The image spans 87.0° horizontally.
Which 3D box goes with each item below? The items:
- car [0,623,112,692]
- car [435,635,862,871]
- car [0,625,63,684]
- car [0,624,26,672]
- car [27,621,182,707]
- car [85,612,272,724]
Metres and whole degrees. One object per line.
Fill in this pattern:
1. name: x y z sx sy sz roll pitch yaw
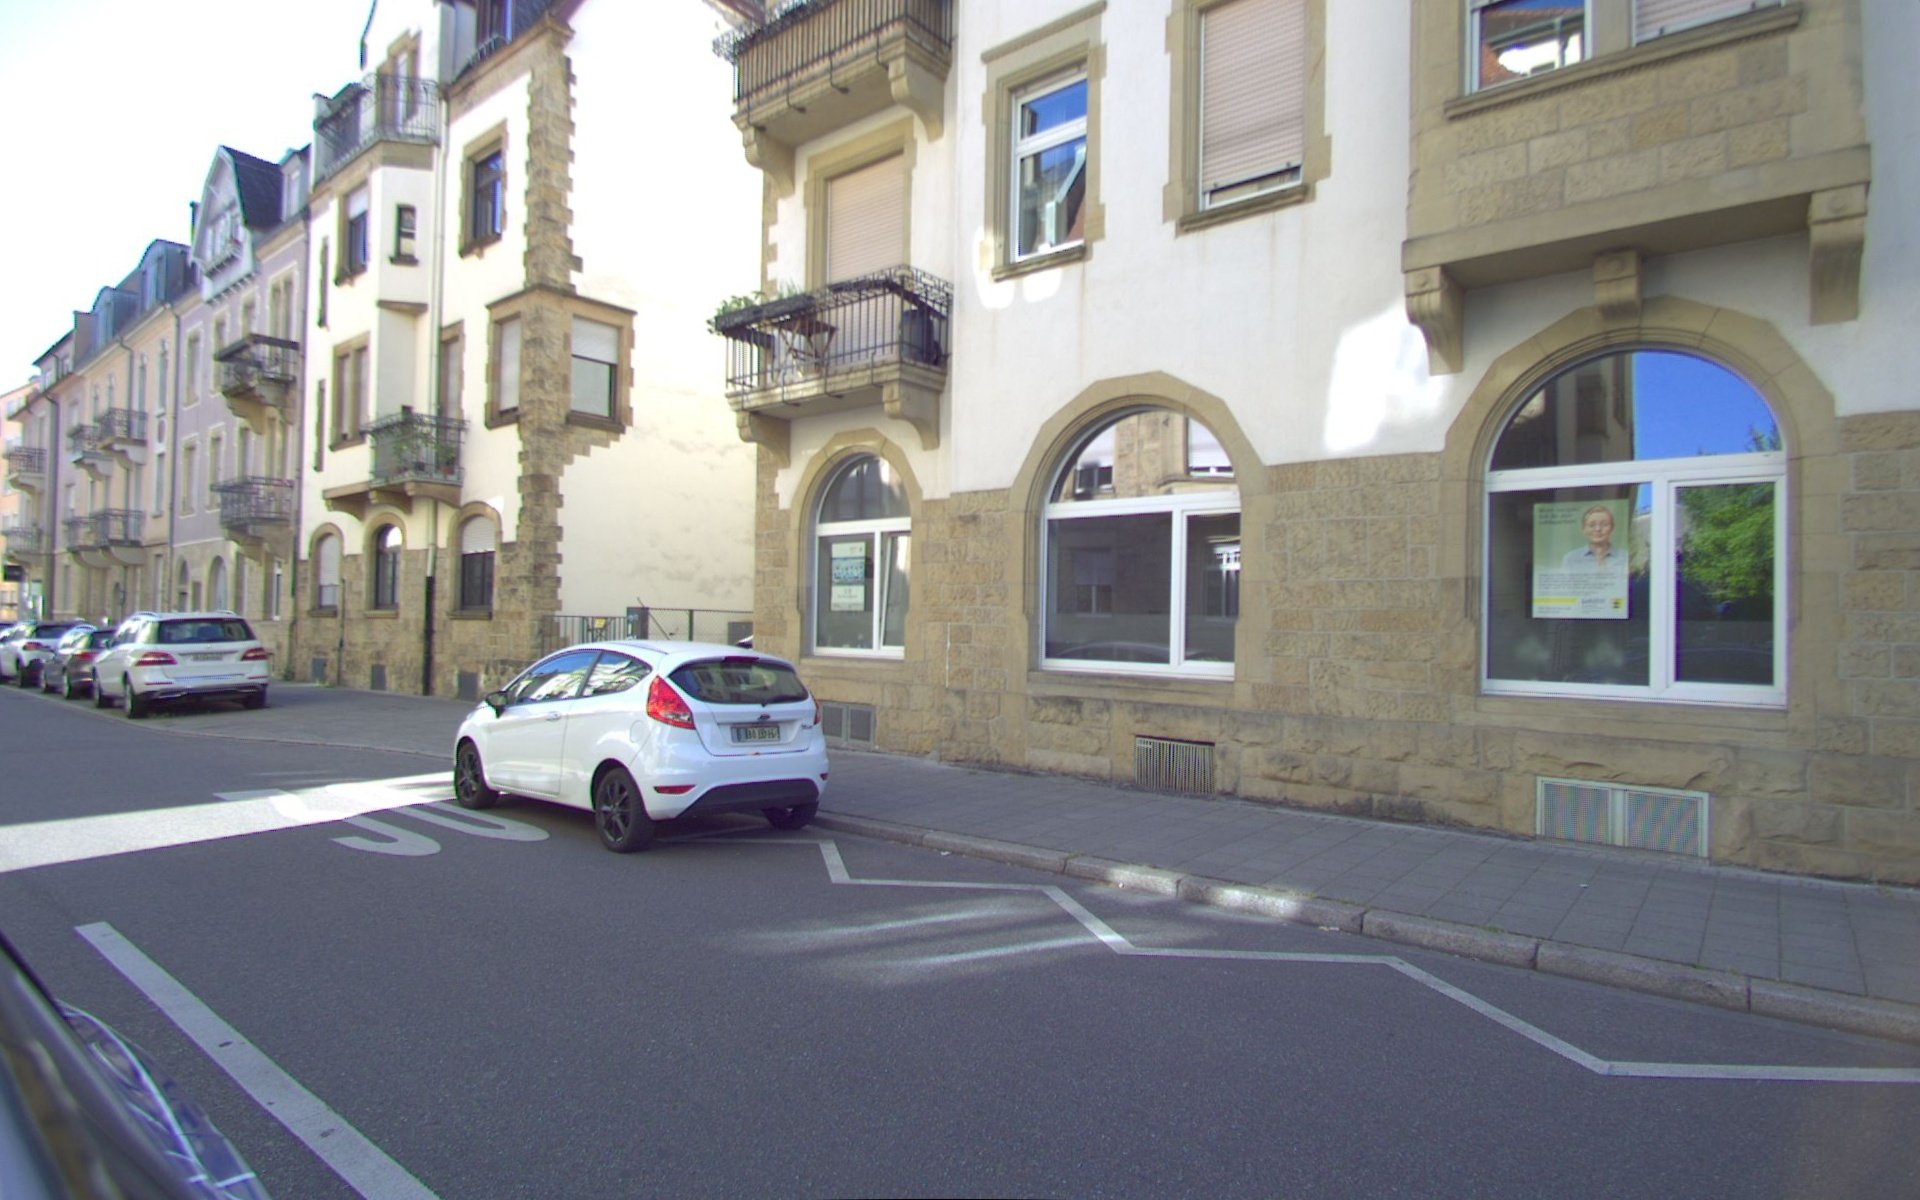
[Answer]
1. car: -22.944 1.380 25.430 4.319 1.520 1.866 -1 0 41
2. car: -2.634 1.043 8.175 3.642 1.469 1.634 -2 -5 42
3. car: -27.152 1.513 28.869 4.317 1.511 1.833 -1 0 41
4. car: -33.136 1.603 34.217 4.319 1.520 1.866 -1 0 41
5. car: -18.440 1.287 21.748 4.319 1.519 1.866 -1 2 41
6. car: -13.994 1.097 18.035 4.209 1.740 1.866 -1 0 41
